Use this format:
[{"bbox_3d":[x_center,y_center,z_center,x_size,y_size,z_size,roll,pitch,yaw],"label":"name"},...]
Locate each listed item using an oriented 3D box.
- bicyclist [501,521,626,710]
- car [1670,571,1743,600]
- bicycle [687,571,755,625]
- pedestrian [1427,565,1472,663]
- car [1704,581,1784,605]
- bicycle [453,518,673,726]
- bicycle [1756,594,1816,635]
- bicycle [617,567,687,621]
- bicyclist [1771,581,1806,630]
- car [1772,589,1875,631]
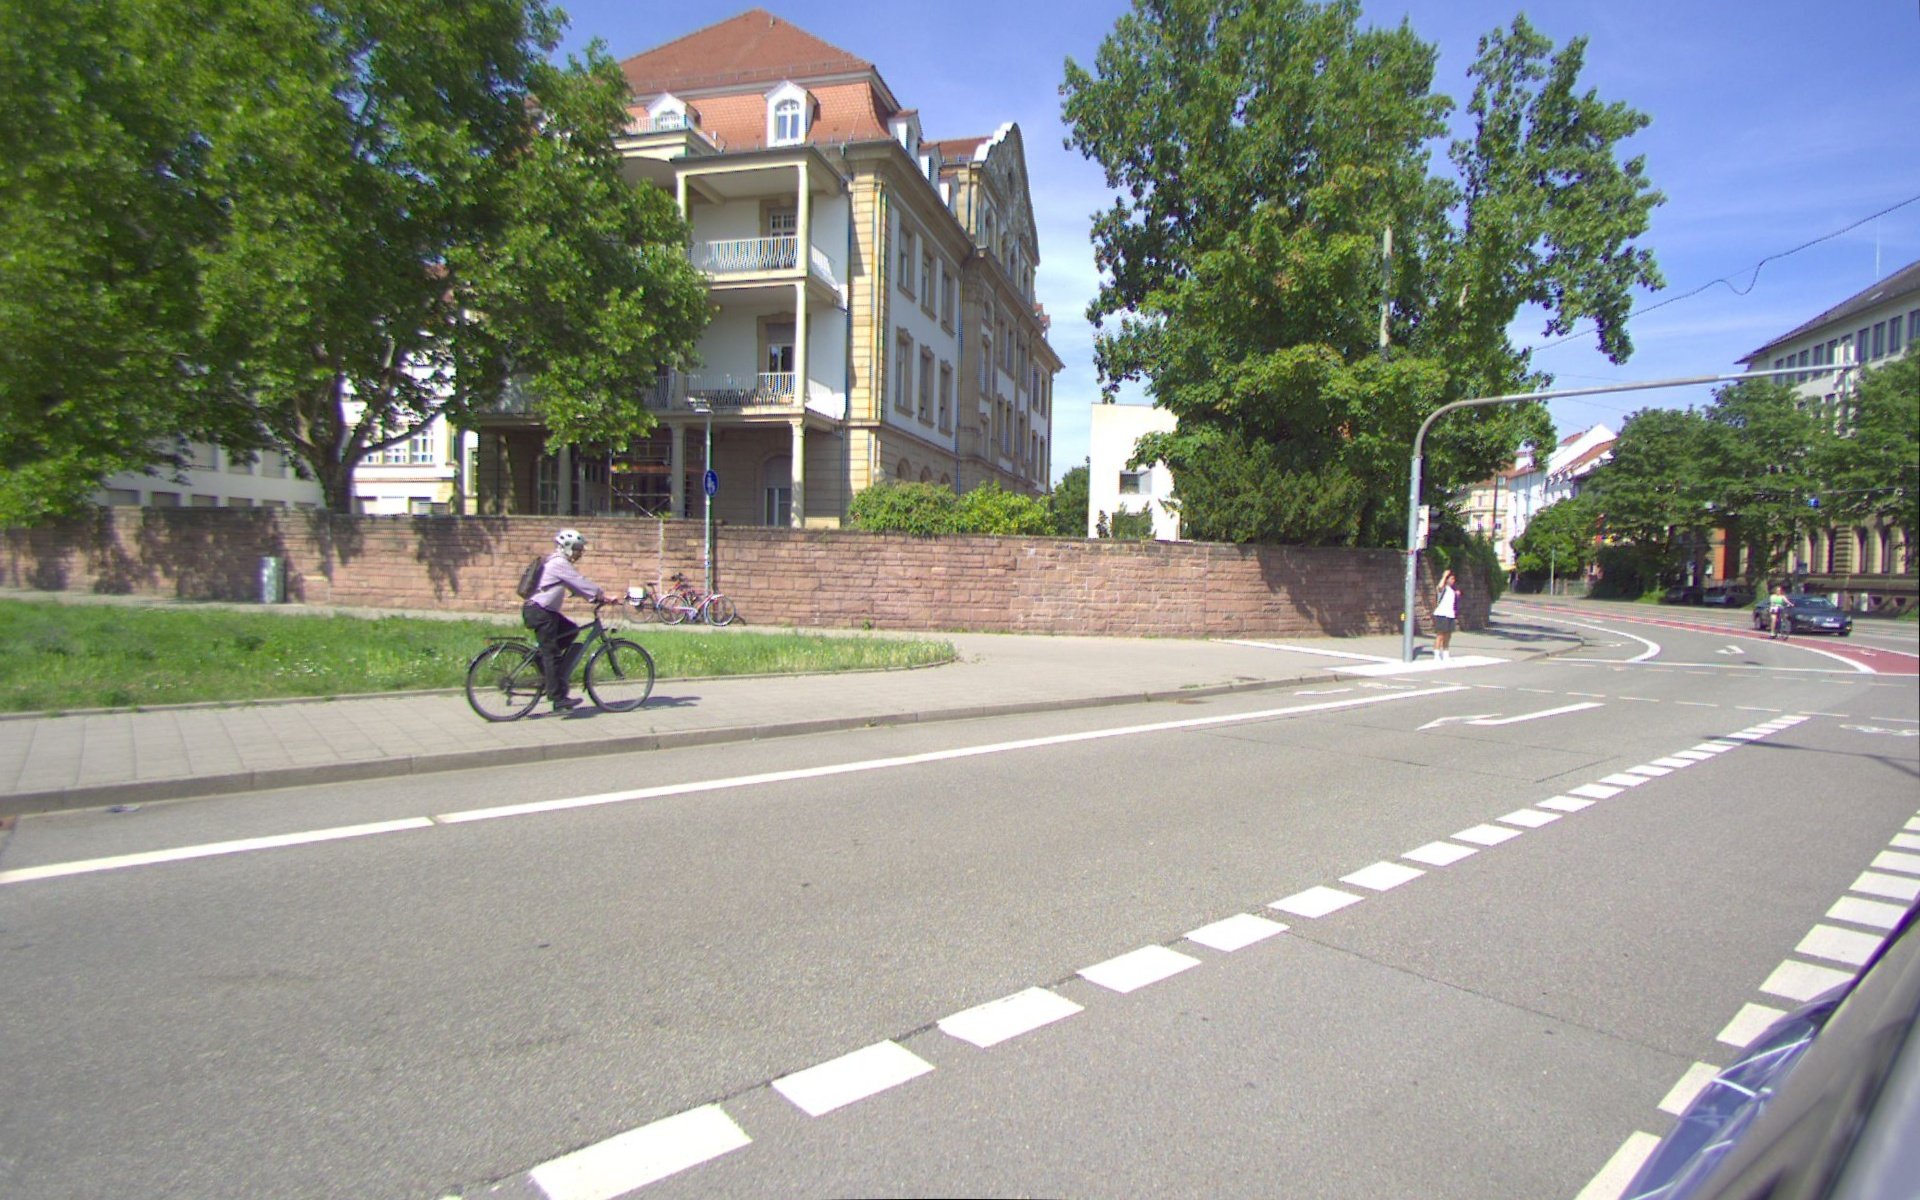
[{"bbox_3d":[-3.718,0.122,9.490,0.903,1.675,0.679,0,2,-41],"label":"bicyclist"},{"bbox_3d":[57.121,-1.149,77.547,3.941,2.038,1.992,2,2,14],"label":"car"},{"bbox_3d":[-5.244,-0.053,22.225,1.406,1.136,0.350,2,2,-6],"label":"bicycle"},{"bbox_3d":[9.896,0.260,20.466,0.649,1.897,0.788,4,3,31],"label":"pedestrian"},{"bbox_3d":[55.734,-0.490,71.990,3.941,1.482,1.992,2,2,14],"label":"car"},{"bbox_3d":[-3.698,0.169,9.508,1.779,1.787,0.679,0,2,-41],"label":"bicycle"},{"bbox_3d":[27.187,0.454,33.341,0.677,1.237,2.176,2,2,16],"label":"bicycle"},{"bbox_3d":[-6.741,-0.125,22.135,1.406,1.136,0.350,1,2,-27],"label":"bicycle"},{"bbox_3d":[27.191,0.167,33.228,0.580,1.567,0.926,0,1,17],"label":"bicyclist"},{"bbox_3d":[31.360,0.311,36.892,1.785,1.393,4.239,1,2,26],"label":"car"}]
